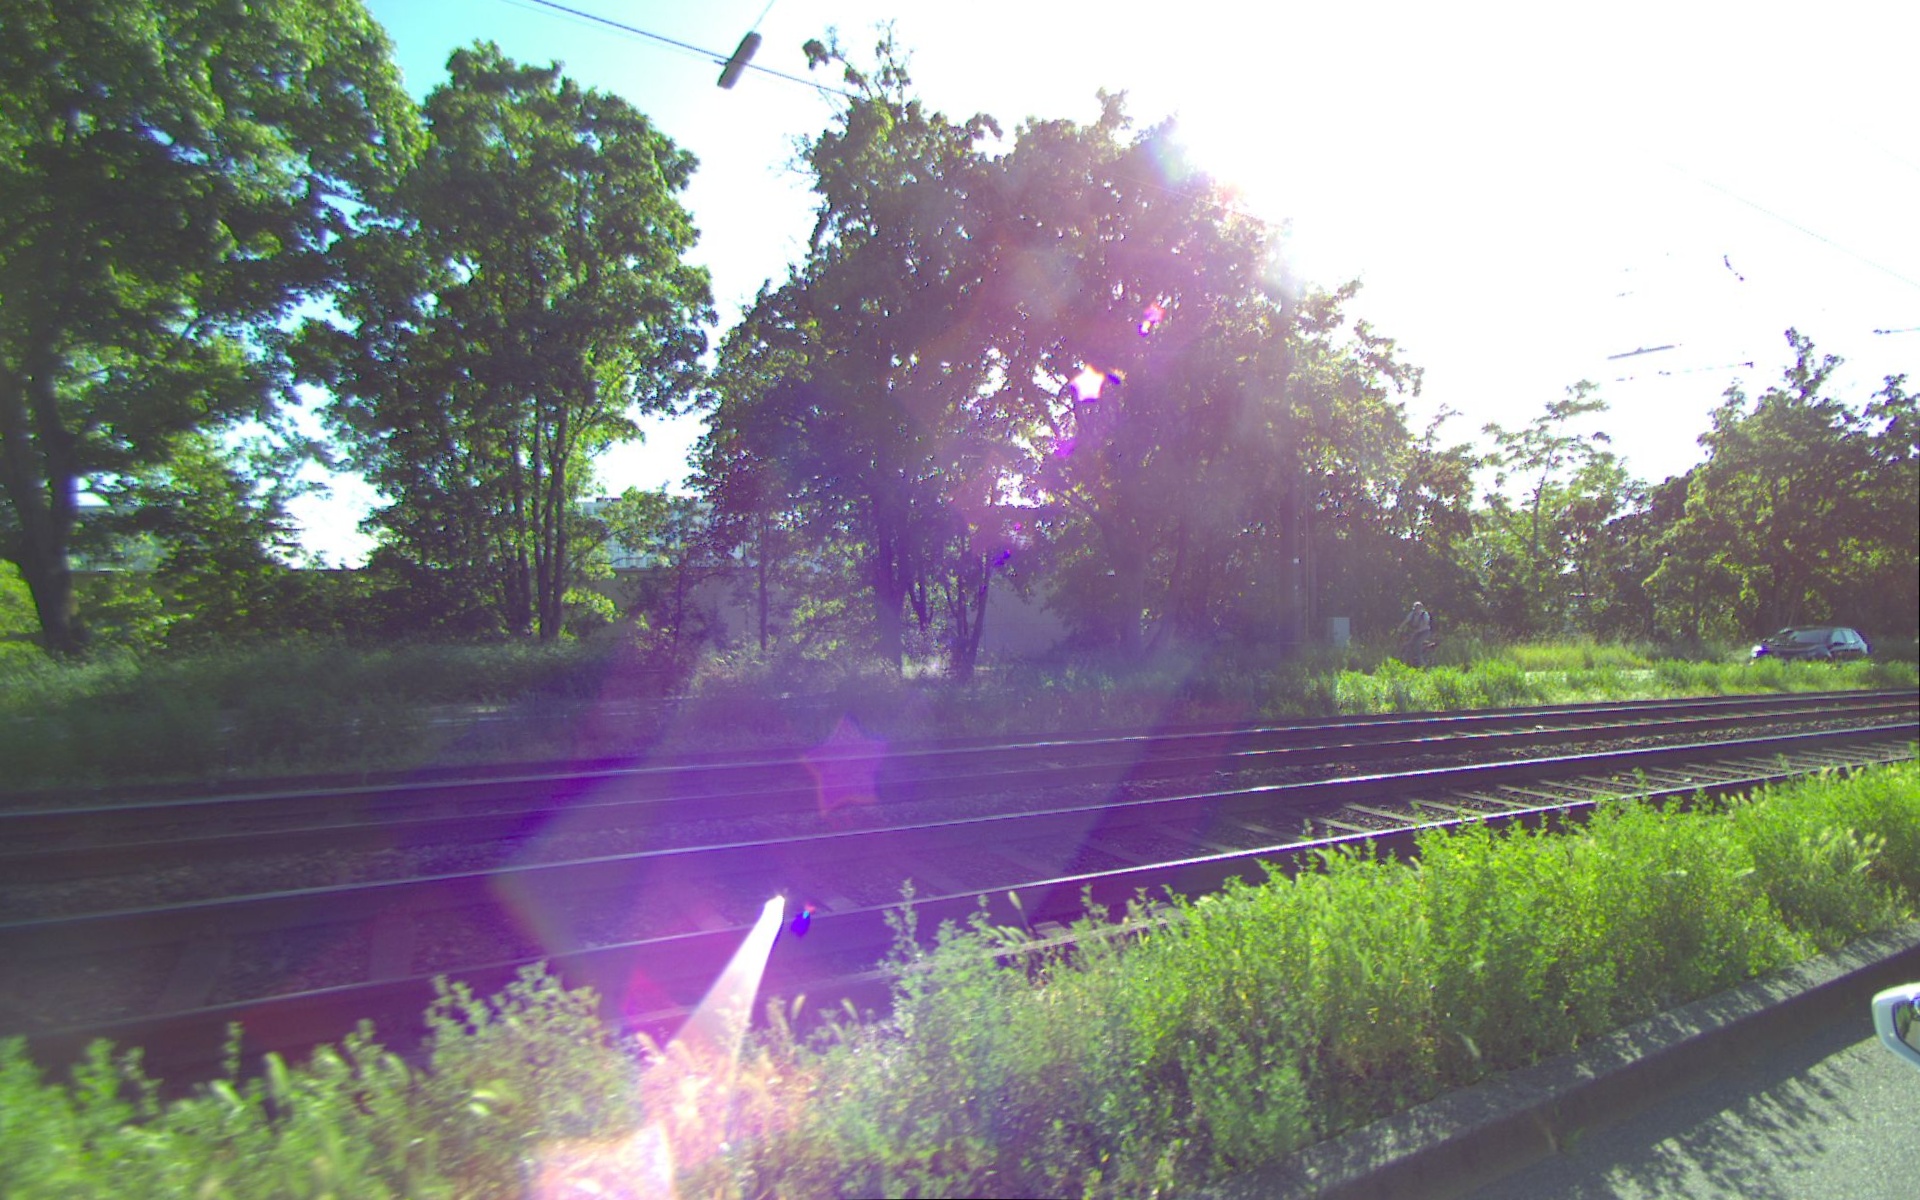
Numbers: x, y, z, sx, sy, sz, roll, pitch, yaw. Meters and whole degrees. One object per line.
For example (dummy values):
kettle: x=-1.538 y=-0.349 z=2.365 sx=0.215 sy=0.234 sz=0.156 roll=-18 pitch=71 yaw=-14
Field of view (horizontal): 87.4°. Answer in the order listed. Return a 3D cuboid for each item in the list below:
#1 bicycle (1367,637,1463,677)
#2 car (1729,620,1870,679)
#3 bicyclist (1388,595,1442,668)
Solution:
bicycle: x=11.193 y=1.388 z=24.685 sx=2.506 sy=0.926 sz=0.814 roll=1 pitch=0 yaw=-29
car: x=23.459 y=1.350 z=28.052 sx=3.951 sy=1.499 sz=1.703 roll=1 pitch=0 yaw=-29
bicyclist: x=11.146 y=0.762 z=24.609 sx=0.891 sy=1.759 sz=0.815 roll=1 pitch=0 yaw=-29
